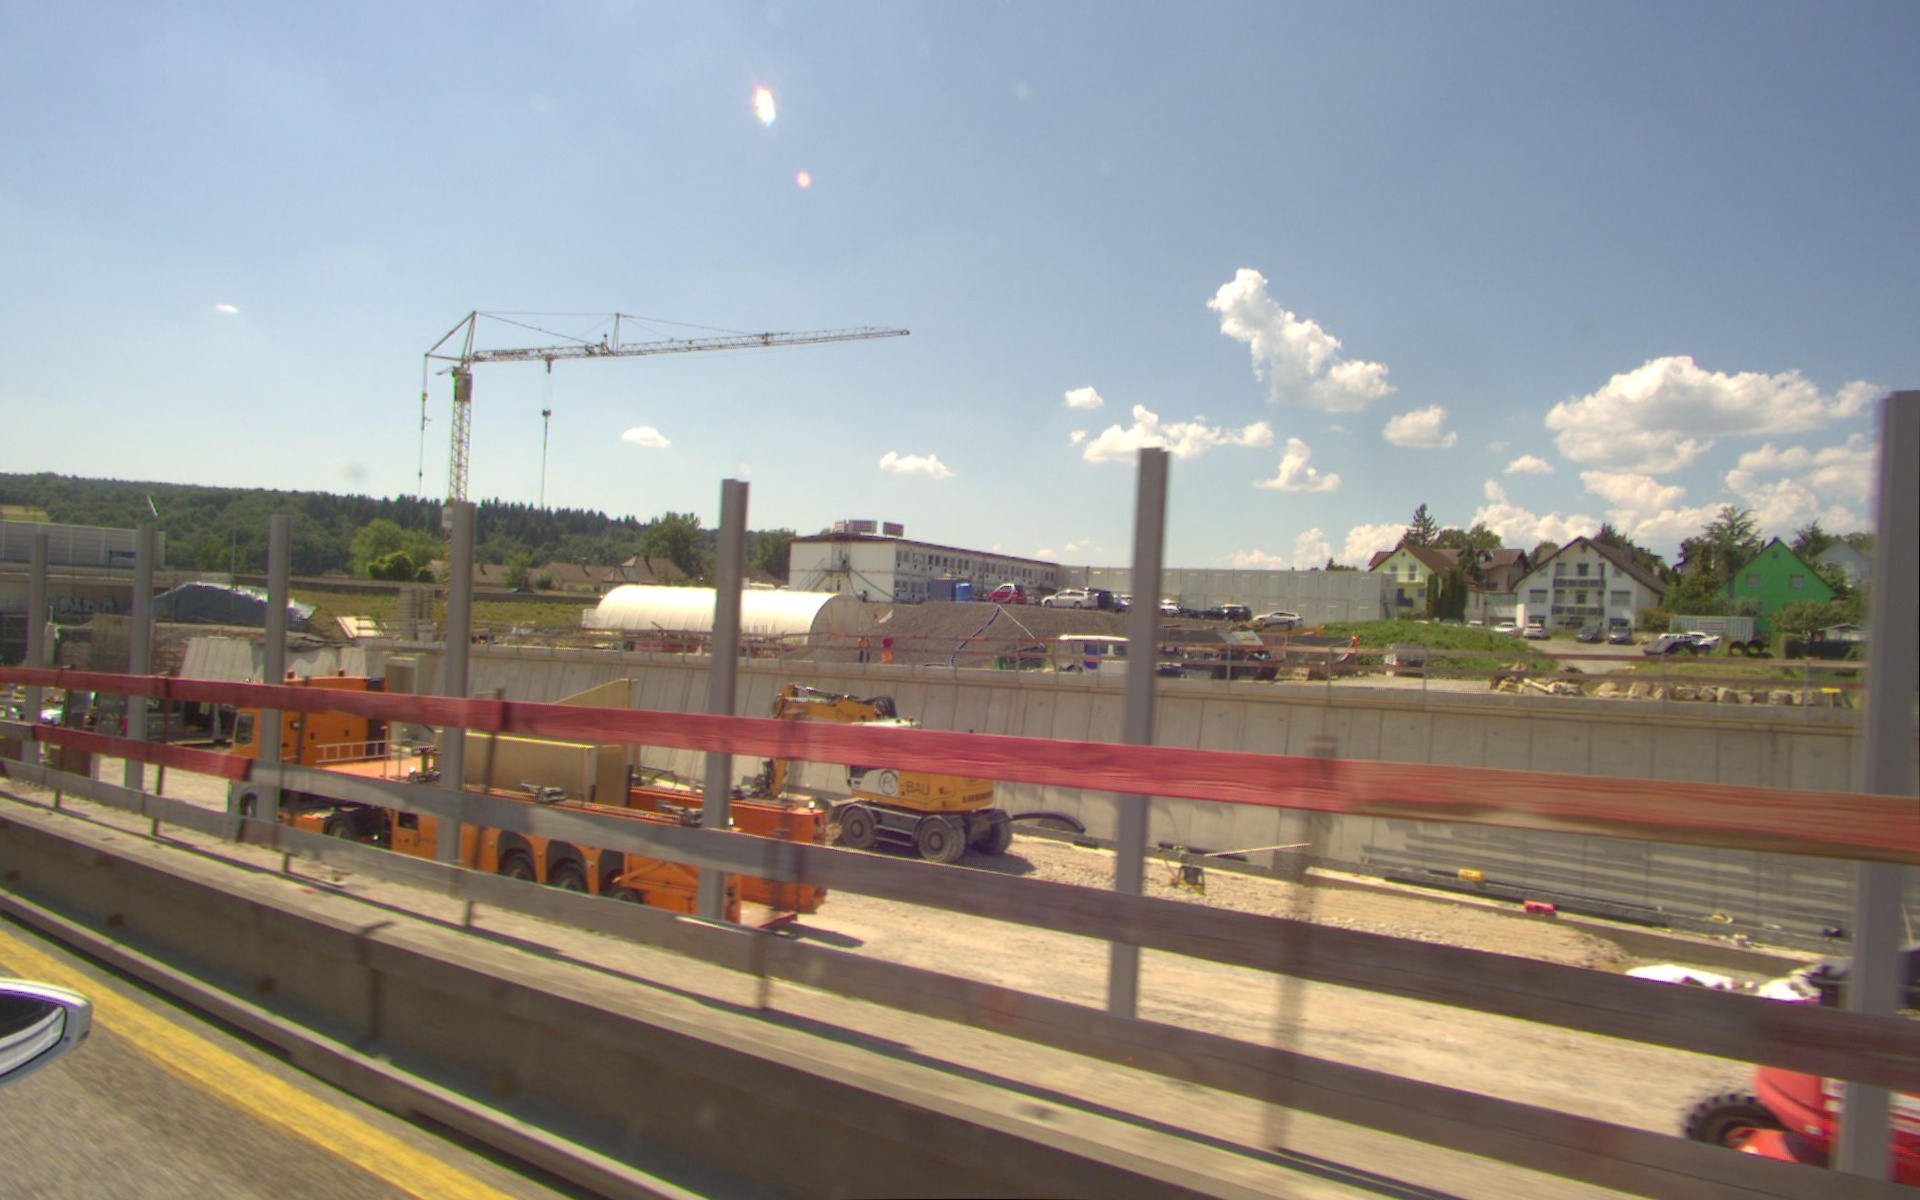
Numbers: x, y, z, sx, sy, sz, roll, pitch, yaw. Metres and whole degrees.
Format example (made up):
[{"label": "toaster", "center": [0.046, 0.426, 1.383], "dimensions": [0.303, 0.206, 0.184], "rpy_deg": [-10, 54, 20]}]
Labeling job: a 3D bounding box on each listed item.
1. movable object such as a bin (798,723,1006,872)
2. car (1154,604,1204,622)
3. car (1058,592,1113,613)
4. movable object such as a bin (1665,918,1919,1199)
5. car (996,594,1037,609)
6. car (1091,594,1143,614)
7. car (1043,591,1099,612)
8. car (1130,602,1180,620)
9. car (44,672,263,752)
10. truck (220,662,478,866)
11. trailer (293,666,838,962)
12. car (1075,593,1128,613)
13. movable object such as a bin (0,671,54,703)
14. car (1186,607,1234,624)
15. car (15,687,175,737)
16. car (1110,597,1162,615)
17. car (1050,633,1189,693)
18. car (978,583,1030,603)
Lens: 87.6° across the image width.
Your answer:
[{"label": "movable object such as a bin", "center": [-1.479, 4.793, 25.188], "dimensions": [4.752, 3.061, 2.277], "rpy_deg": [-1, -4, 32]}, {"label": "car", "center": [19.548, 1.159, 89.297], "dimensions": [4.016, 1.537, 1.678], "rpy_deg": [0, -2, 32]}, {"label": "car", "center": [10.012, 0.214, 79.835], "dimensions": [4.016, 1.537, 1.678], "rpy_deg": [0, -2, 32]}, {"label": "movable object such as a bin", "center": [8.657, 4.391, 8.031], "dimensions": [4.751, 2.461, 2.166], "rpy_deg": [-1, -4, 32]}, {"label": "car", "center": [5.143, 0.133, 90.805], "dimensions": [3.380, 1.297, 1.512], "rpy_deg": [0, -2, 32]}, {"label": "car", "center": [13.135, 0.342, 83.852], "dimensions": [4.016, 1.537, 1.705], "rpy_deg": [0, -2, 32]}, {"label": "car", "center": [8.622, 0.151, 77.654], "dimensions": [4.016, 1.537, 1.678], "rpy_deg": [0, -2, 32]}, {"label": "car", "center": [17.091, 0.980, 87.730], "dimensions": [4.016, 1.537, 1.678], "rpy_deg": [0, -2, 32]}, {"label": "car", "center": [-31.054, 4.211, 38.871], "dimensions": [2.485, 2.617, 6.099], "rpy_deg": [2, -2, 21]}, {"label": "truck", "center": [-14.177, 3.520, 23.172], "dimensions": [5.797, 3.936, 2.754], "rpy_deg": [0, -1, 32]}, {"label": "trailer", "center": [-8.283, 3.487, 19.483], "dimensions": [12.860, 3.936, 2.754], "rpy_deg": [0, -2, 32]}, {"label": "car", "center": [11.568, 0.282, 81.870], "dimensions": [4.016, 1.537, 1.678], "rpy_deg": [0, -2, 32]}, {"label": "movable object such as a bin", "center": [-50.205, 4.600, 52.927], "dimensions": [3.058, 1.583, 1.548], "rpy_deg": [2, -2, -24]}, {"label": "car", "center": [23.117, 1.447, 92.567], "dimensions": [4.016, 1.537, 1.678], "rpy_deg": [0, -2, 32]}, {"label": "car", "center": [-36.534, 4.686, 42.432], "dimensions": [1.971, 1.796, 4.723], "rpy_deg": [2, -2, 32]}, {"label": "car", "center": [15.090, 0.517, 85.751], "dimensions": [4.016, 1.537, 1.711], "rpy_deg": [0, -2, 32]}, {"label": "car", "center": [5.870, 2.281, 36.960], "dimensions": [4.753, 2.039, 1.804], "rpy_deg": [0, -2, 30]}, {"label": "car", "center": [3.154, -0.489, 71.982], "dimensions": [3.380, 1.333, 1.512], "rpy_deg": [0, -2, 32]}]
